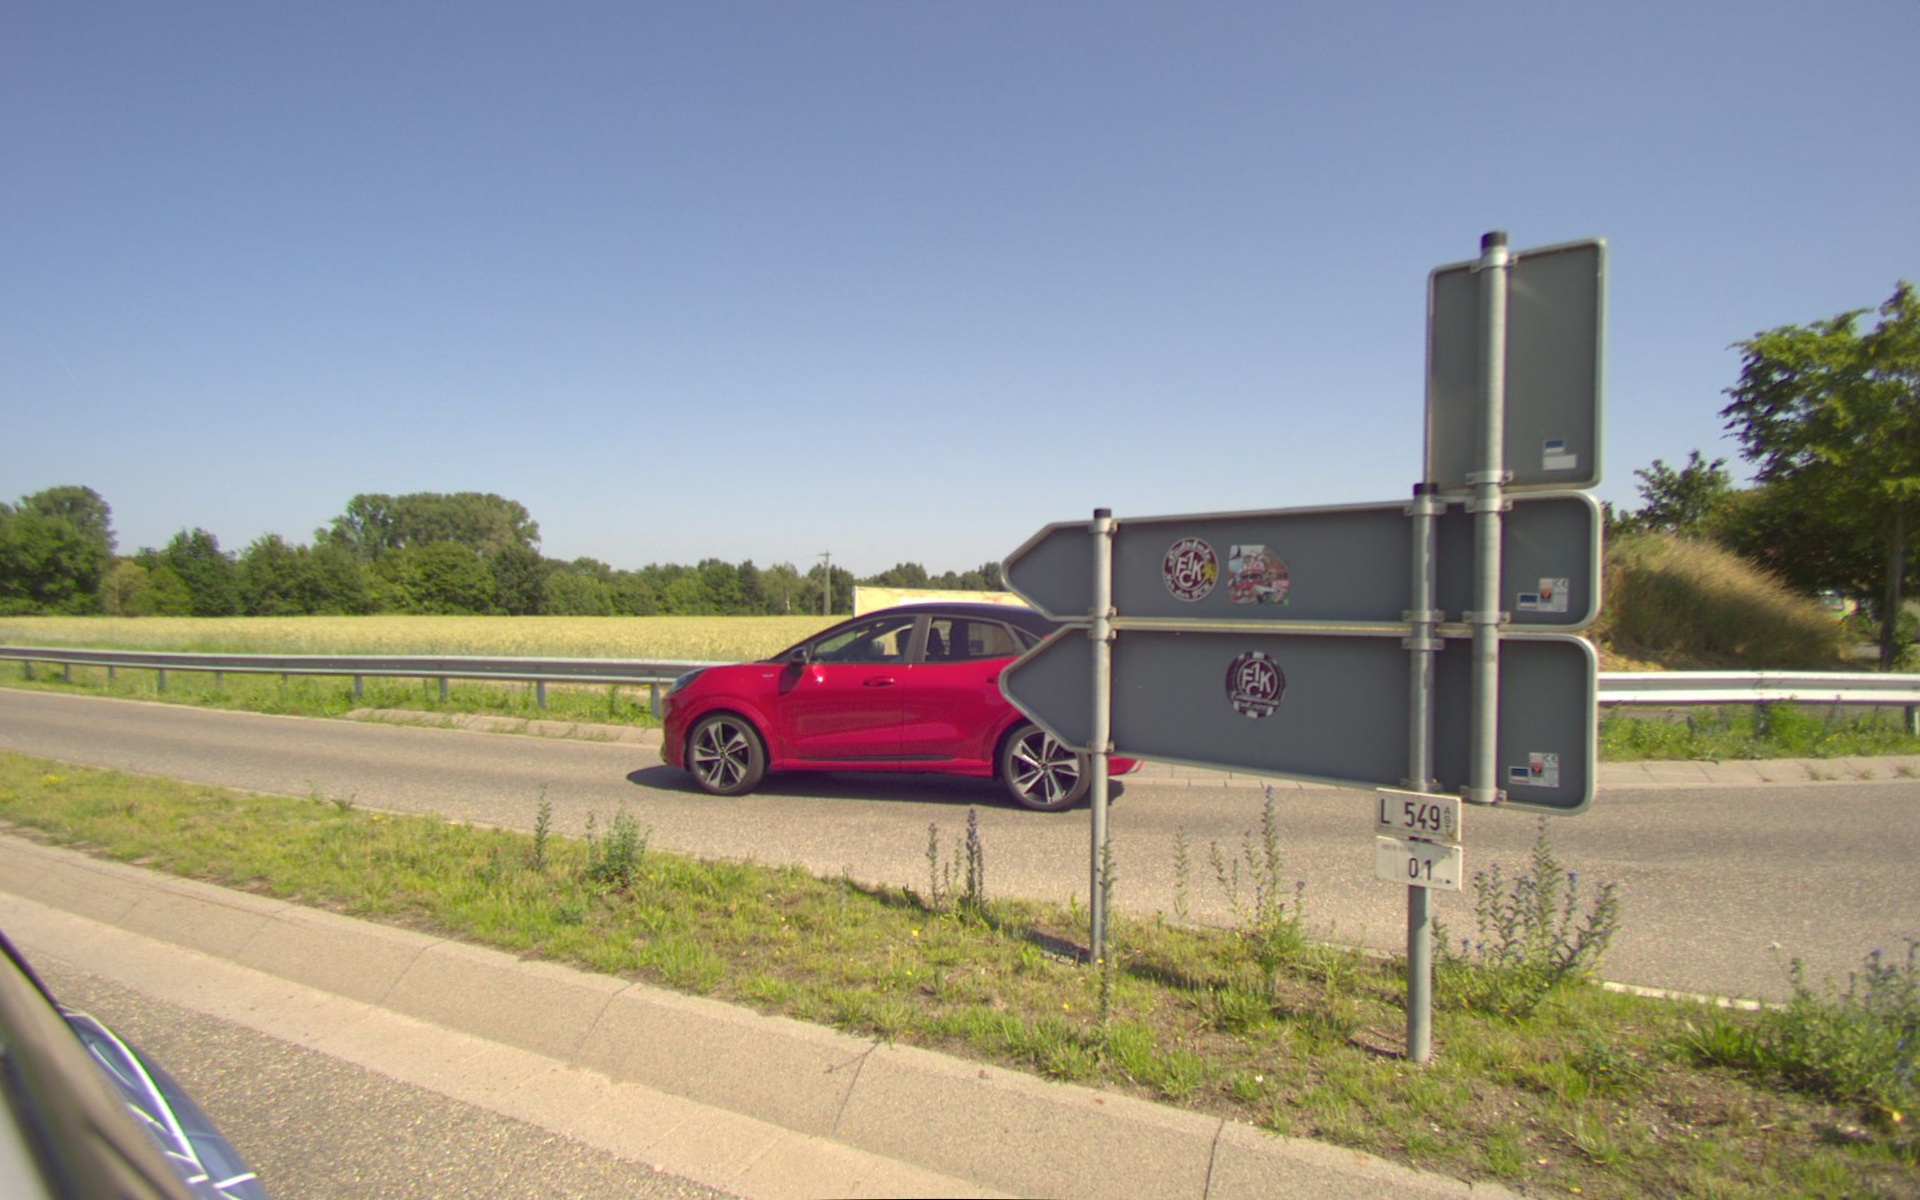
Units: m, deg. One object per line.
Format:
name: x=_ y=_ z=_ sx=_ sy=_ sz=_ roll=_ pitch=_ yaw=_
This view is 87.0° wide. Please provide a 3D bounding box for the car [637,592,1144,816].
car: x=-0.475 y=0.763 z=8.264 sx=3.794 sy=1.534 sz=1.742 roll=-1 pitch=-2 yaw=14
